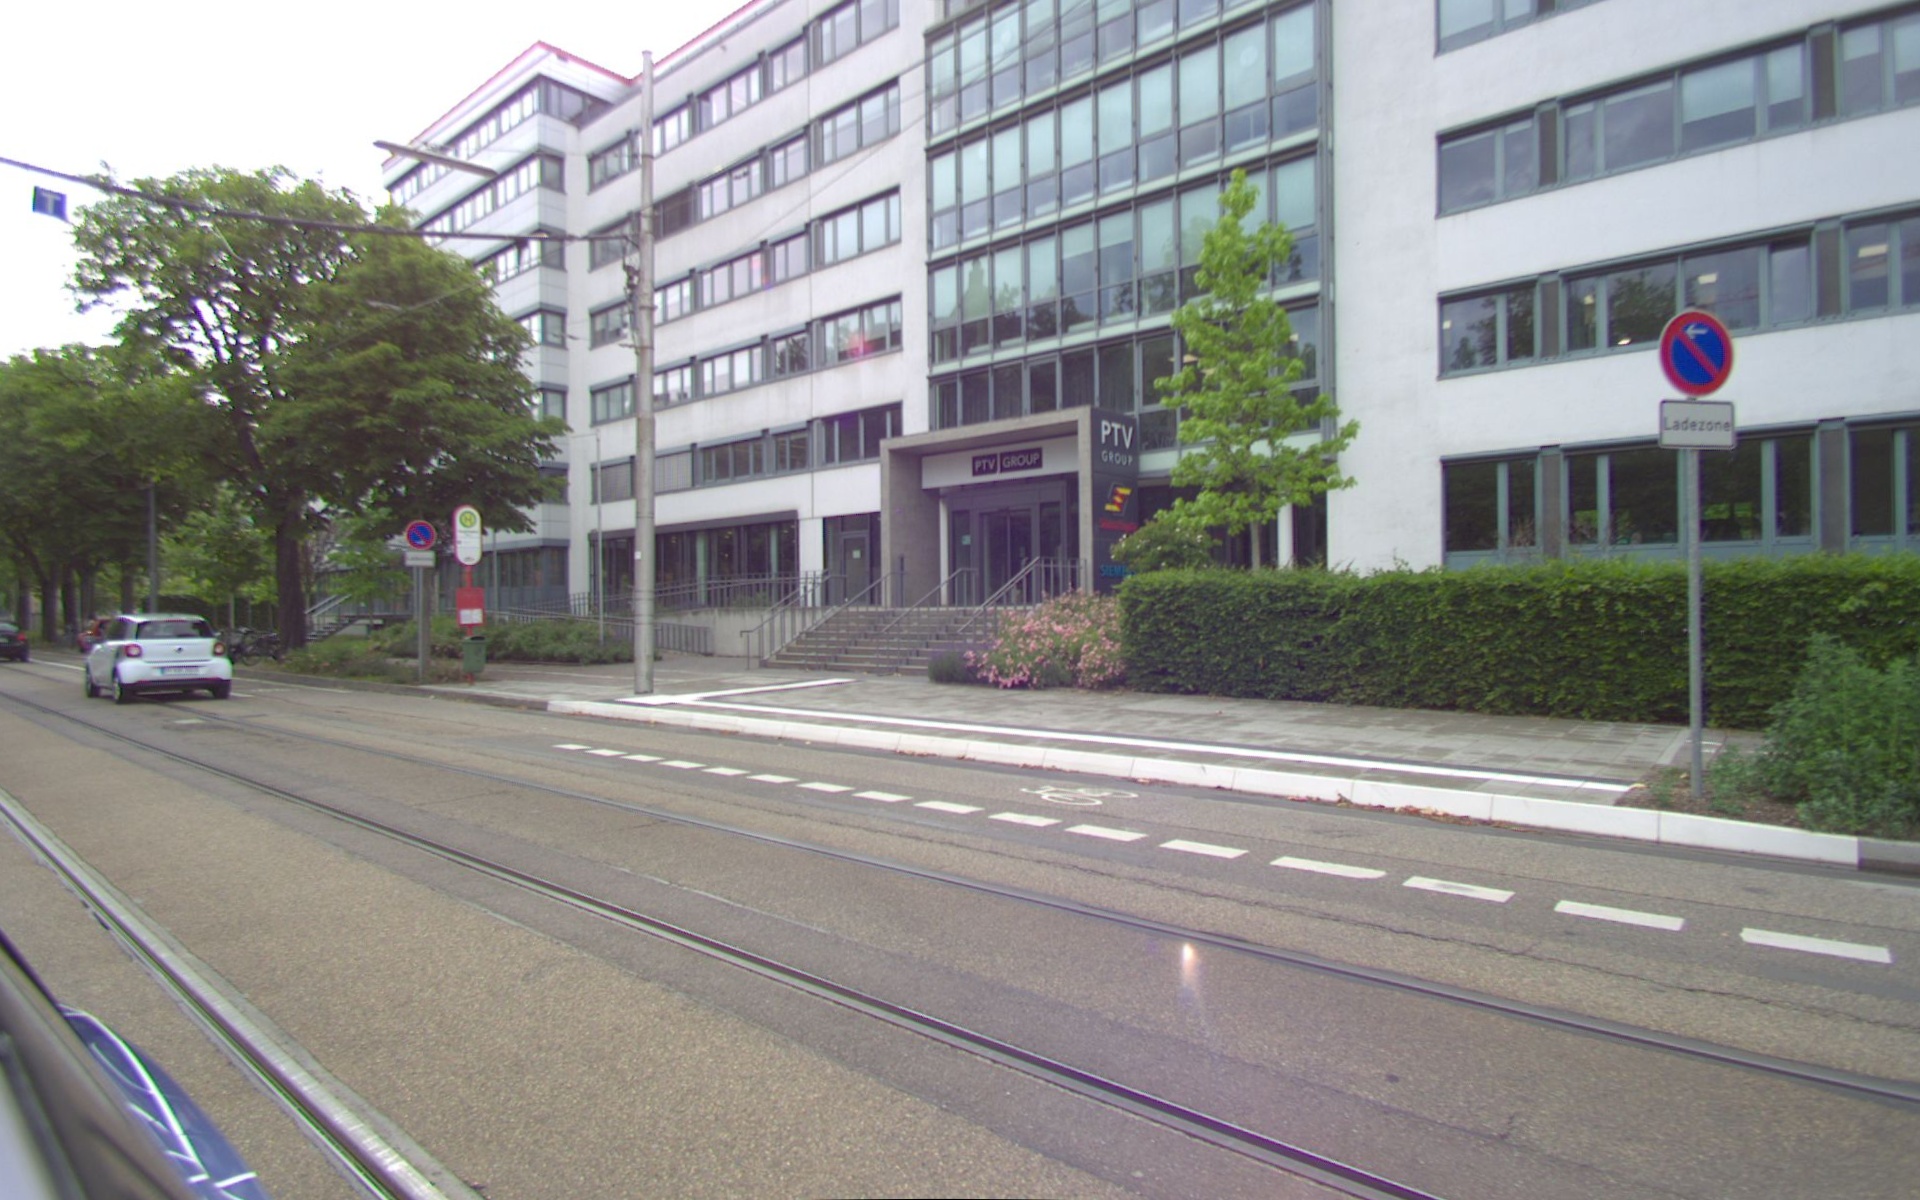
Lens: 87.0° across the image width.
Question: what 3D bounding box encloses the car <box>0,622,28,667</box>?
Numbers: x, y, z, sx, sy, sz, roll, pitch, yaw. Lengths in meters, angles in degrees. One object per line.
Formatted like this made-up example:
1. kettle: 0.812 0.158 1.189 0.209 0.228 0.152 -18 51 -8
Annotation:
1. car: -33.725 1.549 35.040 4.061 1.497 1.729 -2 -2 41

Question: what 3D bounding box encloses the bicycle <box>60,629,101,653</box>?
1. bicycle: -43.891 2.043 50.497 0.617 1.149 1.454 -1 -1 39

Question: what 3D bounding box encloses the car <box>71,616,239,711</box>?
1. car: -14.787 1.079 18.542 3.739 1.541 1.686 -1 -1 40

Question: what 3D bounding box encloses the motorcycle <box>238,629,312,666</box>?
1. motorcycle: -21.431 1.474 31.674 0.731 1.058 1.773 -1 0 34

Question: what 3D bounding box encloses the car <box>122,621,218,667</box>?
1. car: -28.738 1.552 36.764 4.751 1.504 1.862 -1 1 41

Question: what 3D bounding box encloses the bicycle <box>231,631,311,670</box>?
1. bicycle: -20.264 1.469 29.809 0.739 1.061 1.814 -2 -1 32

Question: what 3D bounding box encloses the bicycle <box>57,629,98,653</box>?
1. bicycle: -44.302 2.048 50.793 0.617 1.149 1.455 -1 1 39

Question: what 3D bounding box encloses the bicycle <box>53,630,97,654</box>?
1. bicycle: -43.349 2.059 49.587 0.614 1.100 1.460 -1 1 28

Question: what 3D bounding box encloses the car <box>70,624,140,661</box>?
1. car: -38.203 1.885 45.204 3.752 1.458 1.613 -1 2 38
